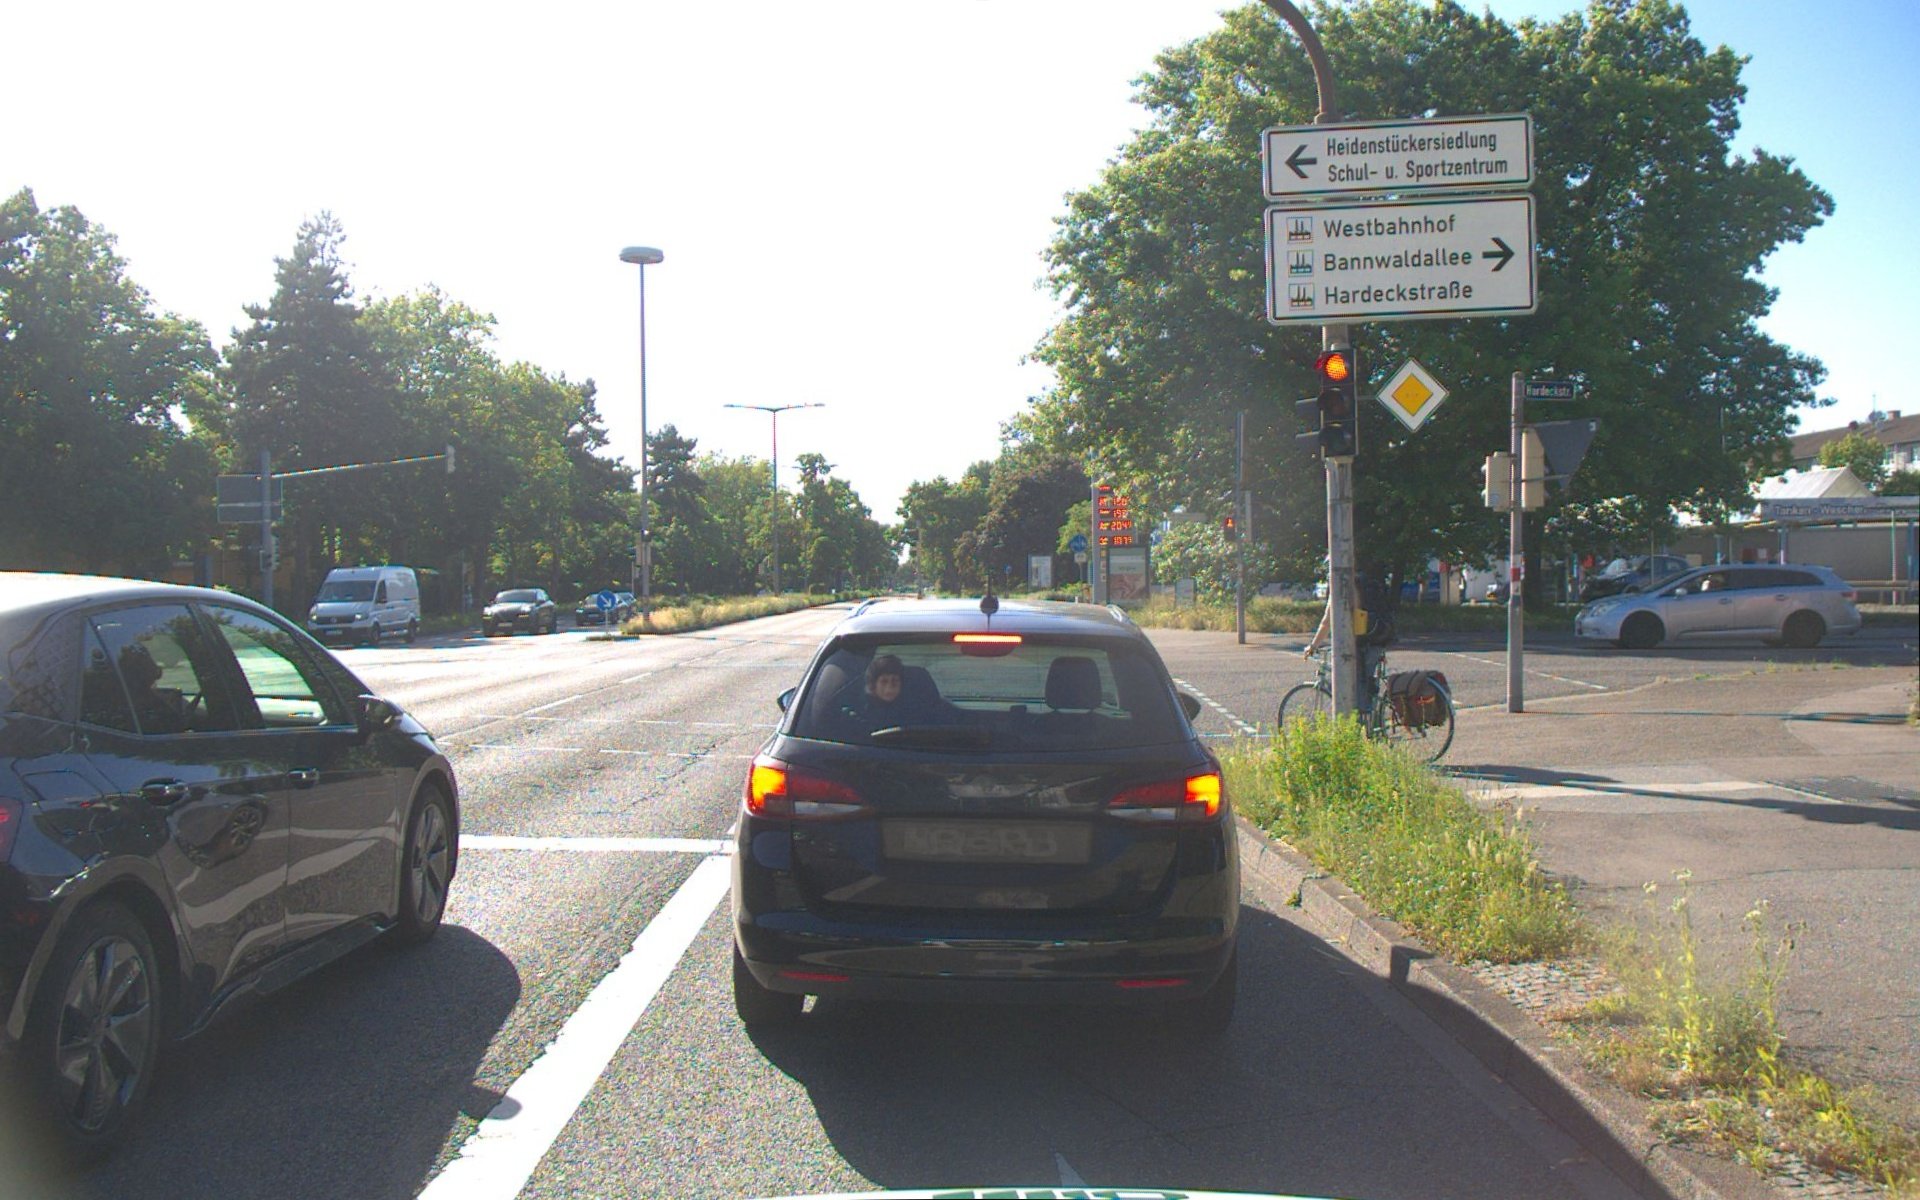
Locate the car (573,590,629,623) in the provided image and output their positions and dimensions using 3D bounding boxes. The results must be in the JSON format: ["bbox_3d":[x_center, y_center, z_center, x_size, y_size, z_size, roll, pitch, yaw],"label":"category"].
[{"bbox_3d":[-16.822,0.287,77.723,1.740,1.488,4.164,-1,0,-1],"label":"car"}]

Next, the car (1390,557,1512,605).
[{"bbox_3d":[16.910,-0.650,56.989,3.837,1.544,1.732,-2,0,-24],"label":"car"}]

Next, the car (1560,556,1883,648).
[{"bbox_3d":[13.538,0.032,29.708,4.897,1.512,2.002,-1,0,11],"label":"car"}]

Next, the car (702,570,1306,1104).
[{"bbox_3d":[0.100,0.685,6.842,1.721,1.521,4.206,0,0,-1],"label":"car"}]

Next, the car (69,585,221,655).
[{"bbox_3d":[-19.251,0.431,39.266,1.652,1.535,4.003,-1,0,-1],"label":"car"}]

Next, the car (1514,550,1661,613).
[{"bbox_3d":[18.976,-0.576,50.023,3.935,1.780,1.985,-2,1,-24],"label":"car"}]

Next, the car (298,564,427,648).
[{"bbox_3d":[-19.418,0.172,54.076,2.057,2.536,6.003,-1,0,-1],"label":"car"}]

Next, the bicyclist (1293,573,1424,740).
[{"bbox_3d":[3.217,0.455,13.377,0.534,1.299,0.816,-2,-2,-44],"label":"bicyclist"}]

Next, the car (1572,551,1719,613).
[{"bbox_3d":[19.989,-0.532,48.200,3.934,1.709,1.732,-2,0,-24],"label":"car"}]

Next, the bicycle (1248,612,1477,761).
[{"bbox_3d":[3.224,0.701,13.376,0.533,1.117,1.748,-2,-2,-44],"label":"bicycle"}]

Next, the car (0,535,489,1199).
[{"bbox_3d":[-3.001,0.658,5.610,1.650,1.608,4.206,0,0,-1],"label":"car"}]

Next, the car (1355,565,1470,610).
[{"bbox_3d":[16.433,-0.463,60.064,3.837,1.544,1.732,-2,0,-24],"label":"car"}]

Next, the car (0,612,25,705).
[{"bbox_3d":[-16.092,0.971,24.694,1.652,1.458,4.614,-1,0,-1],"label":"car"}]

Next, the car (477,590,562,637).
[{"bbox_3d":[-16.362,0.462,61.610,1.953,1.629,4.615,-1,0,-1],"label":"car"}]
